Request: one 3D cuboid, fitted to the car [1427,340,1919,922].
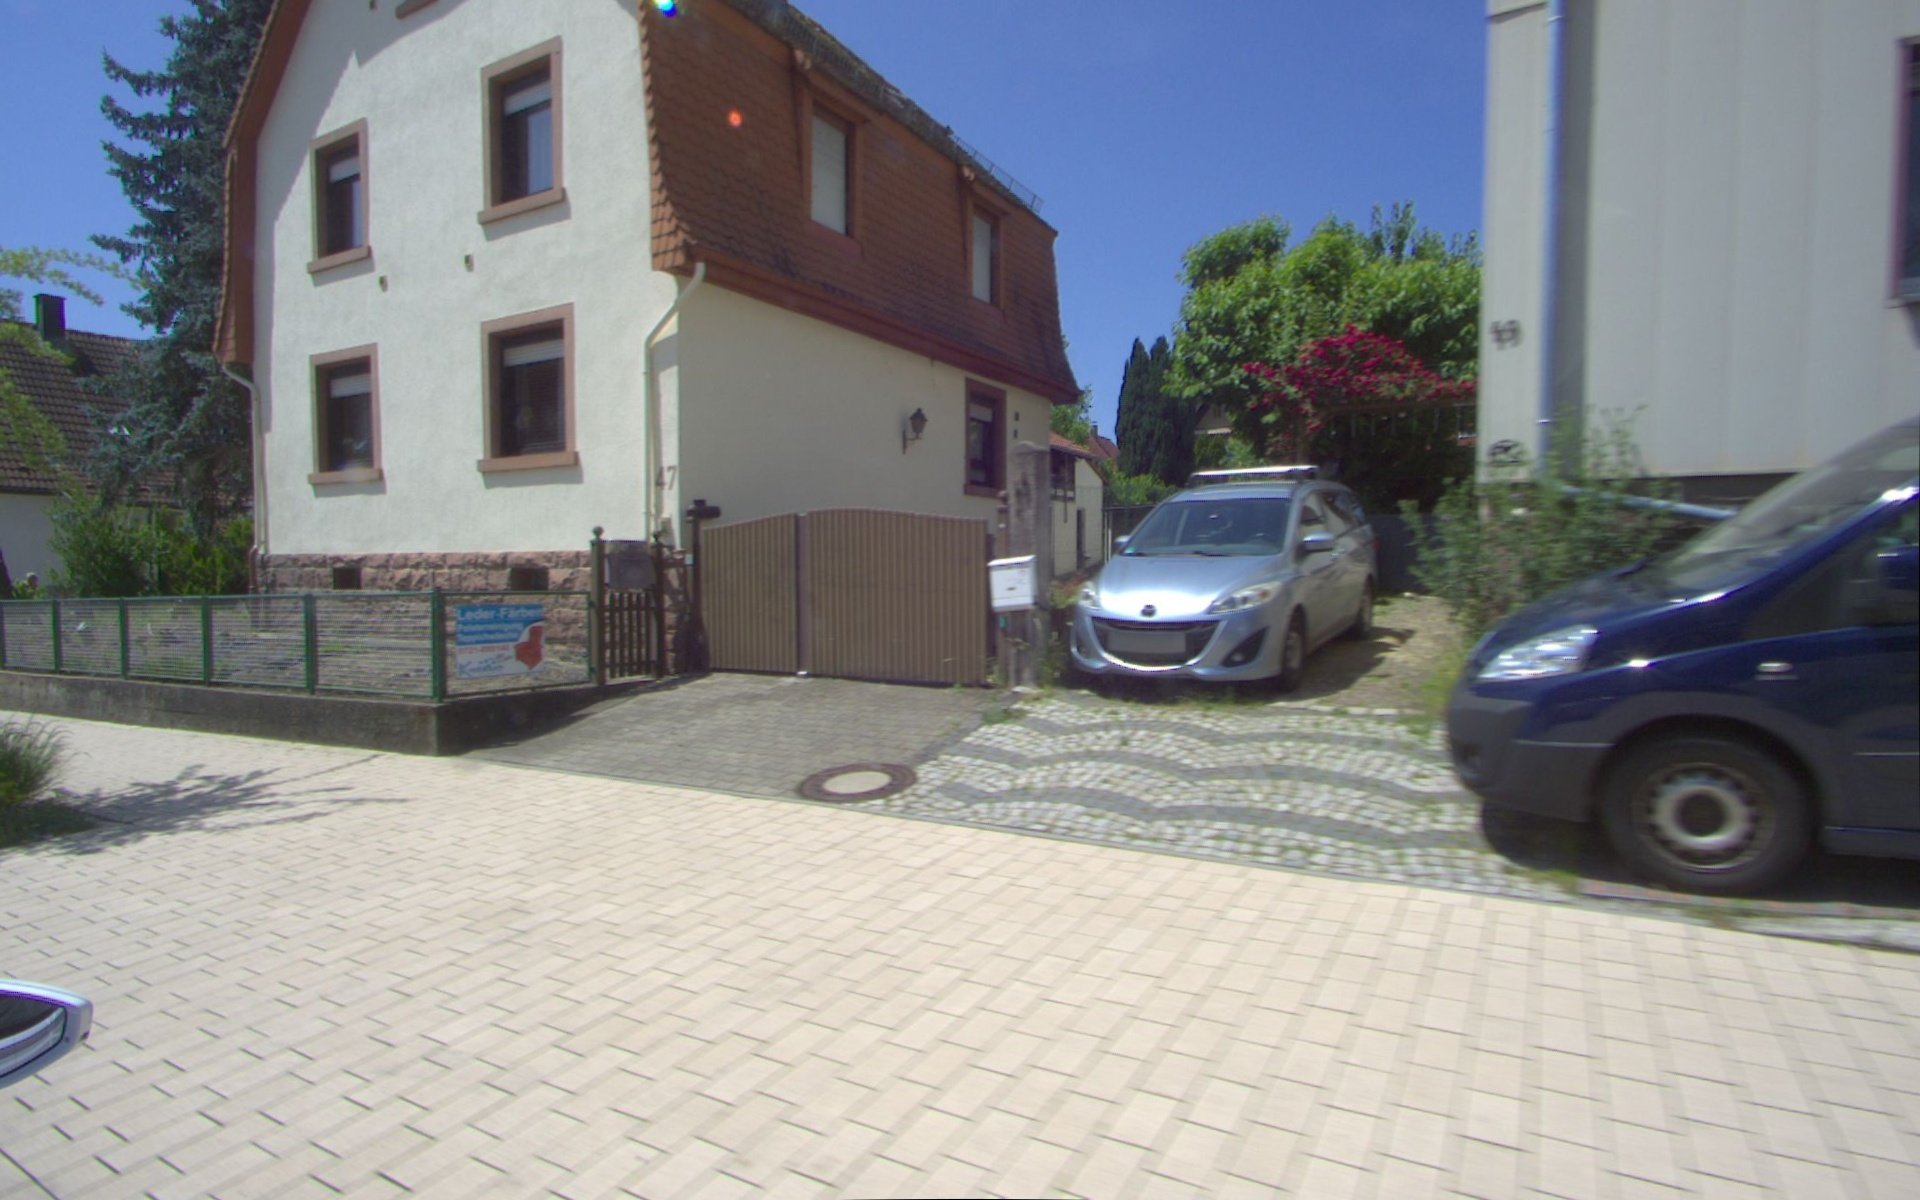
[{"bbox_3d":[4.446,0.046,3.774,4.704,1.999,1.847,0,5,31],"label":"car"}]

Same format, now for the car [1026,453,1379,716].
[{"bbox_3d":[2.394,-0.310,8.962,1.864,1.791,3.973,0,6,32],"label":"car"}]

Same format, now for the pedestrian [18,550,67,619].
[{"bbox_3d":[-22.257,-0.381,24.298,0.544,1.639,0.602,0,6,32],"label":"pedestrian"}]
